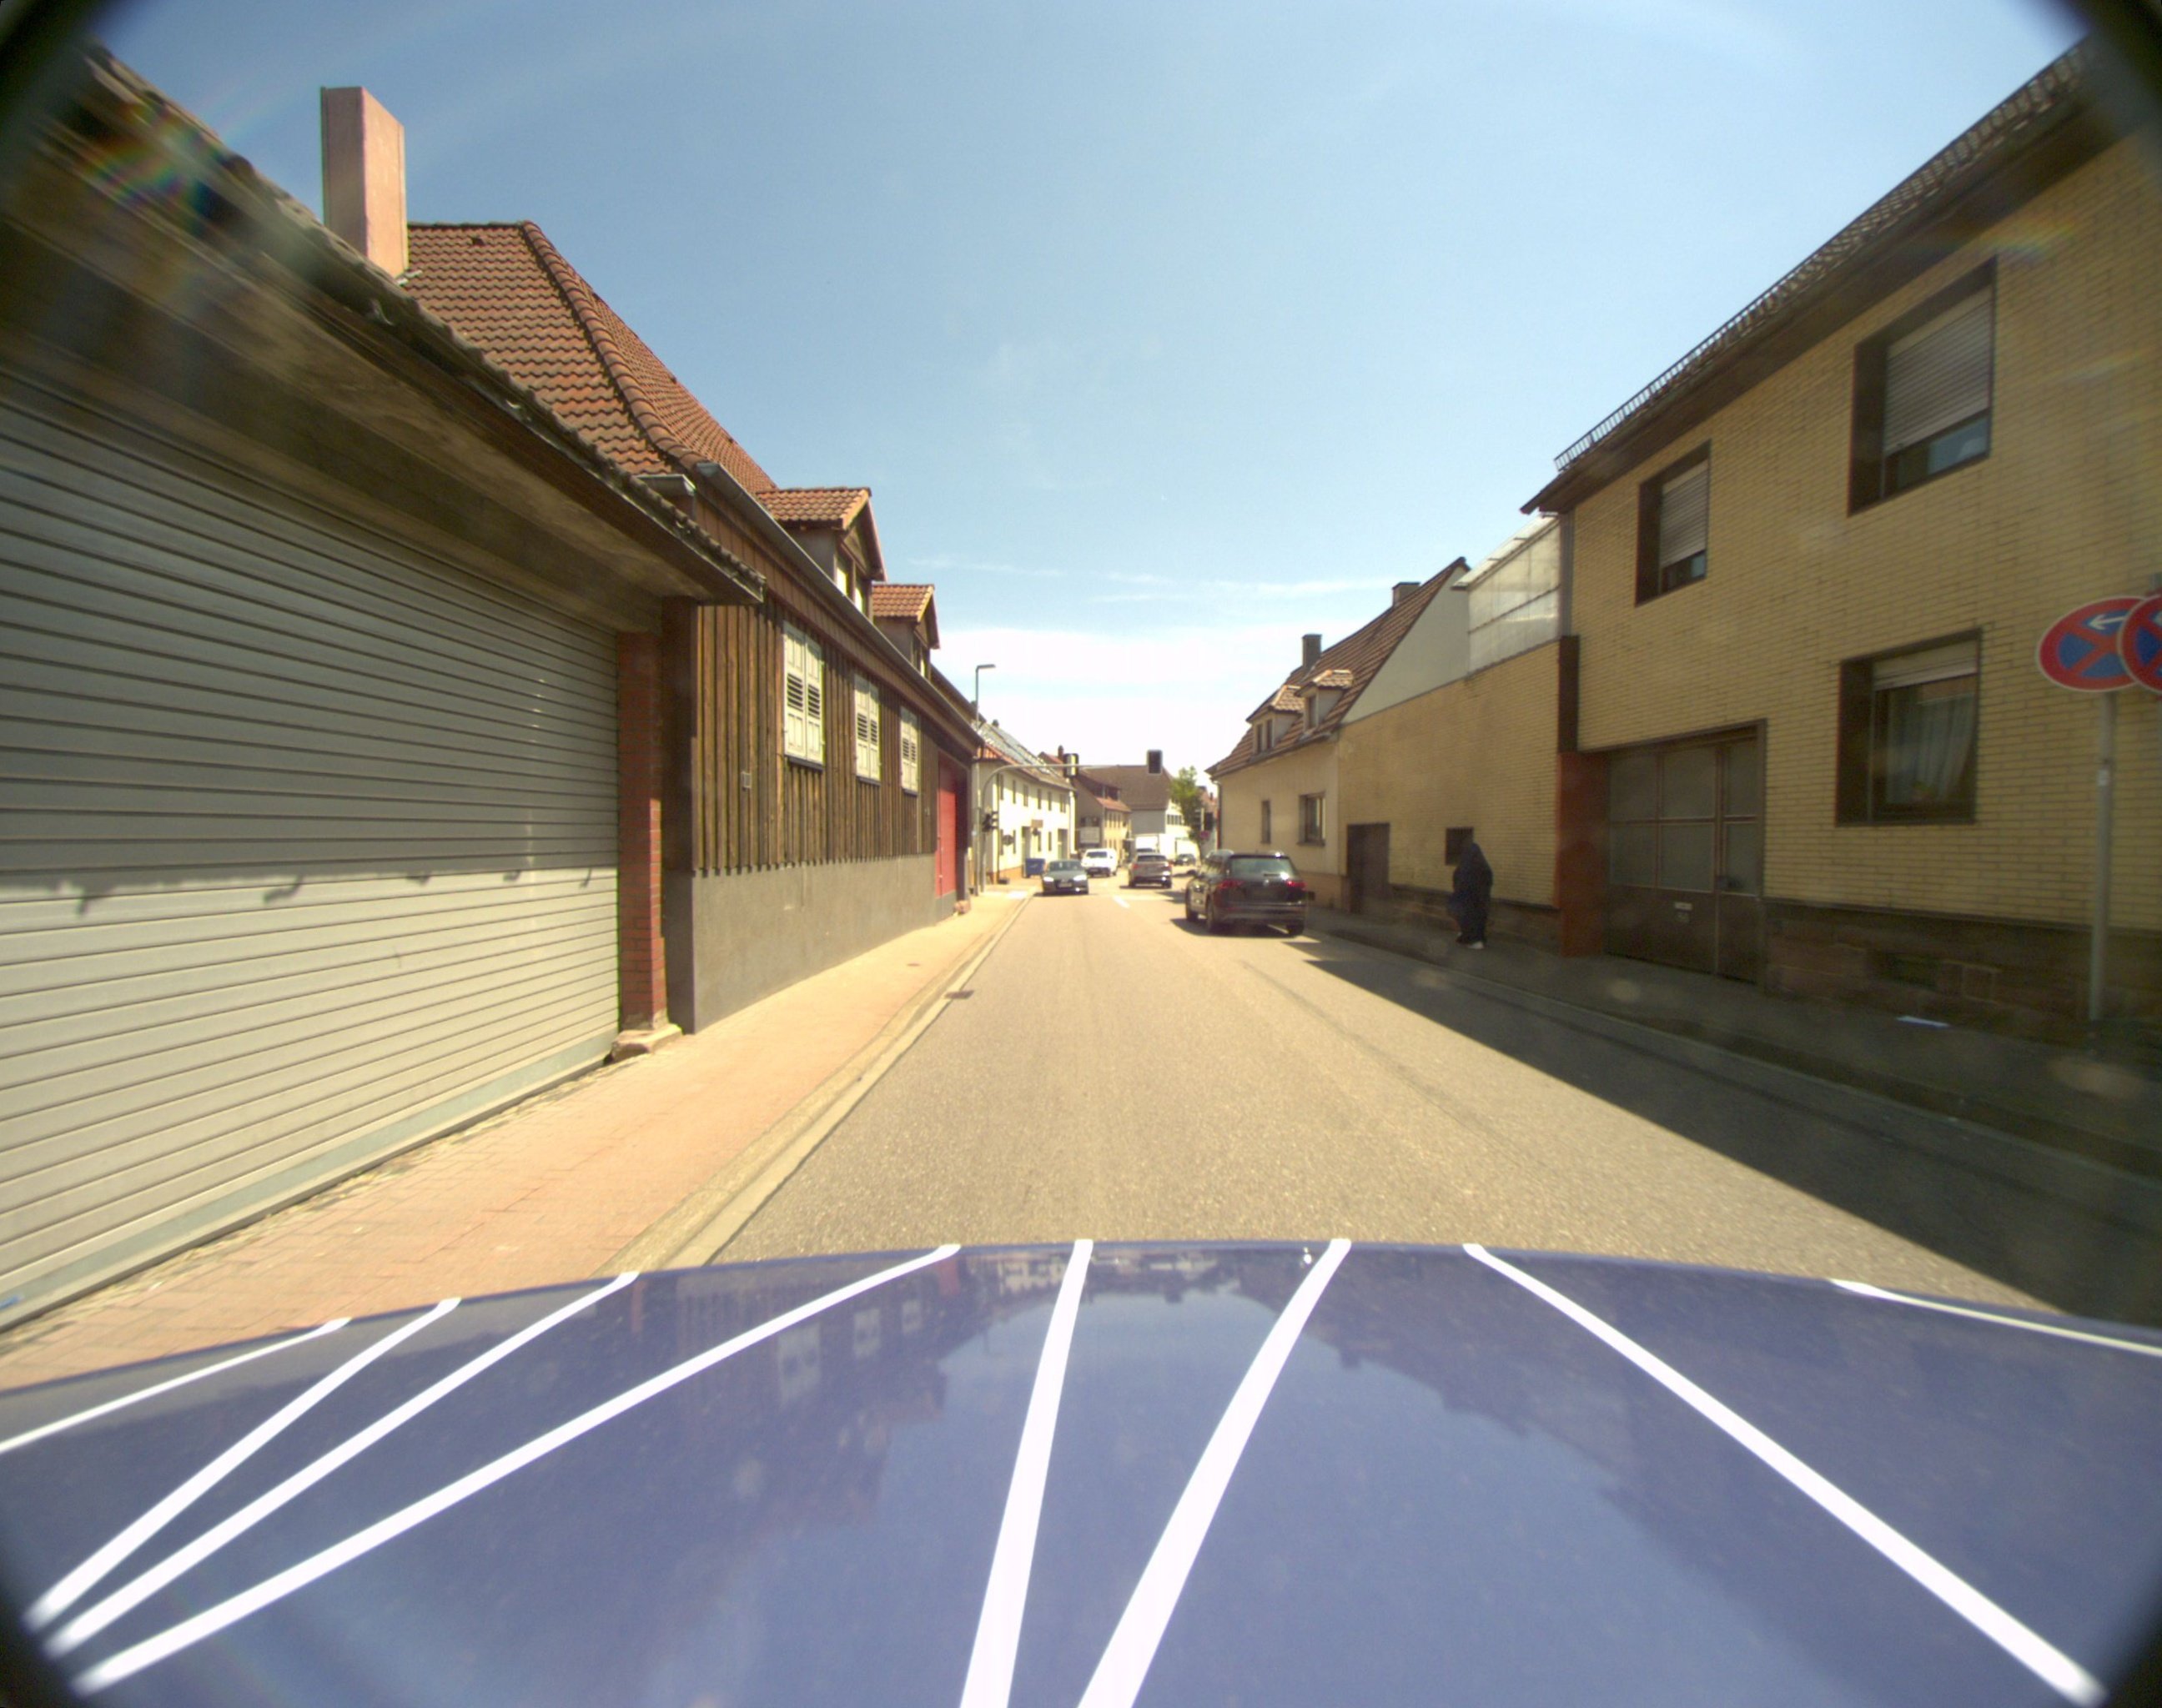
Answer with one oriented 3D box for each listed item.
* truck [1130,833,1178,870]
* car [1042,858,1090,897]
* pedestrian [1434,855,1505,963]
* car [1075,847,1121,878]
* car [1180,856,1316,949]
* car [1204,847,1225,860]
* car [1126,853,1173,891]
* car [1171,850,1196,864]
[{"bbox_3d":[7.561,-0.368,77.178,2.862,3.492,8.330,2,2,19],"label":"truck"},{"bbox_3d":[-0.553,0.883,30.410,1.786,1.365,3.606,0,1,0],"label":"car"},{"bbox_3d":[5.809,0.797,11.397,0.663,1.555,0.755,0,2,1],"label":"pedestrian"},{"bbox_3d":[1.241,0.513,51.525,2.077,1.949,5.523,0,1,12],"label":"car"},{"bbox_3d":[3.295,0.881,15.881,1.816,1.600,4.336,2,0,-1],"label":"car"},{"bbox_3d":[17.956,-0.126,102.232,1.995,1.608,4.006,-1,1,22],"label":"car"},{"bbox_3d":[3.118,0.776,35.378,1.834,1.612,4.260,1,0,0],"label":"car"},{"bbox_3d":[11.916,0.350,87.844,1.865,1.521,4.006,-1,1,22],"label":"car"}]
